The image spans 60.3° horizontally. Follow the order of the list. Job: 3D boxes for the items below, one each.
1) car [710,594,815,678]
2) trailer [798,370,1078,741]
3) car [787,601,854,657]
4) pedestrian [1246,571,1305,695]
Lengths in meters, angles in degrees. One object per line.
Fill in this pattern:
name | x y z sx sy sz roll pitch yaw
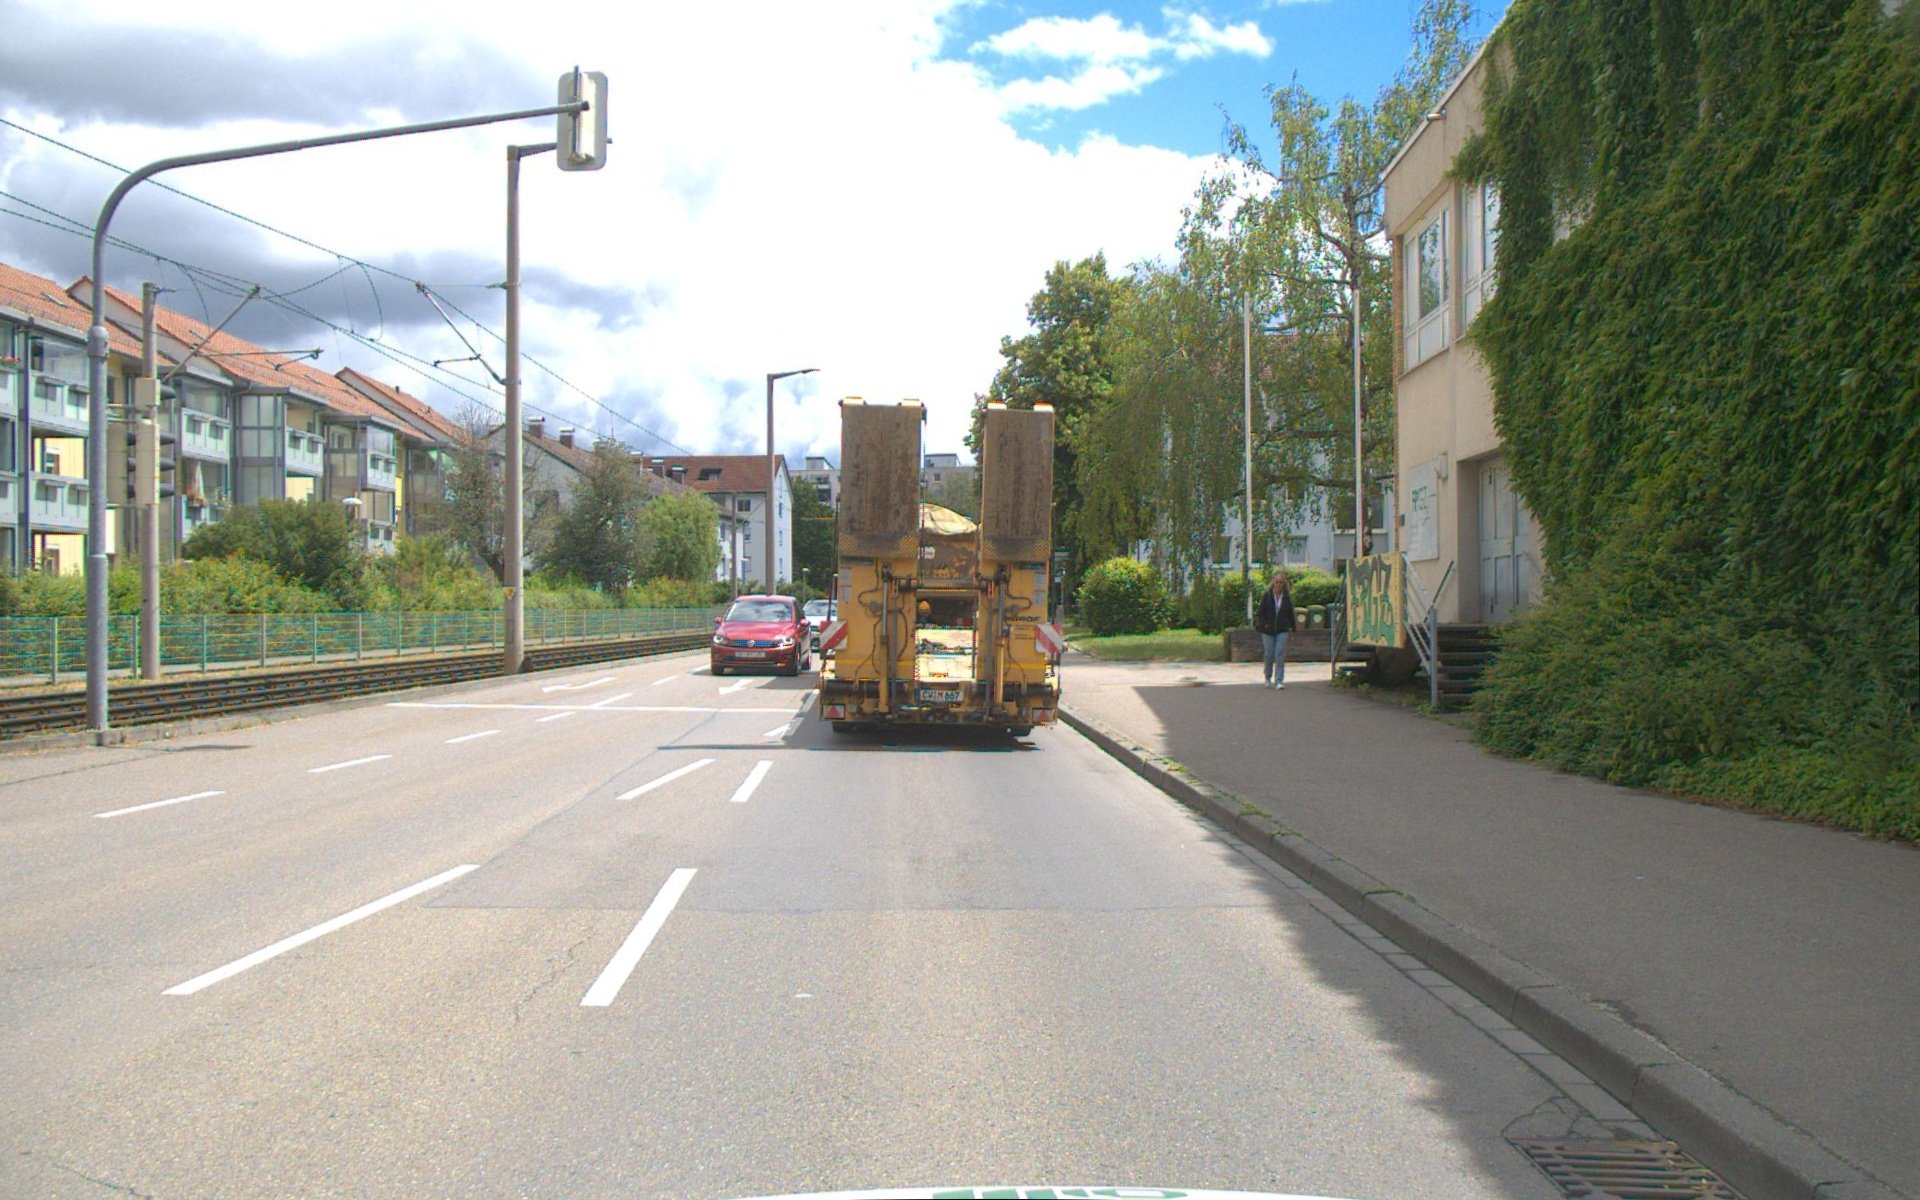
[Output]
car | -3.986 0.702 33.941 1.629 1.579 4.000 1 0 0
trailer | -0.551 -0.414 22.965 2.771 3.710 12.345 1 0 -3
car | -4.122 0.850 49.316 1.724 1.579 3.999 1 0 -1
pedestrian | 4.719 0.485 24.797 0.792 1.802 0.817 1 -1 7
